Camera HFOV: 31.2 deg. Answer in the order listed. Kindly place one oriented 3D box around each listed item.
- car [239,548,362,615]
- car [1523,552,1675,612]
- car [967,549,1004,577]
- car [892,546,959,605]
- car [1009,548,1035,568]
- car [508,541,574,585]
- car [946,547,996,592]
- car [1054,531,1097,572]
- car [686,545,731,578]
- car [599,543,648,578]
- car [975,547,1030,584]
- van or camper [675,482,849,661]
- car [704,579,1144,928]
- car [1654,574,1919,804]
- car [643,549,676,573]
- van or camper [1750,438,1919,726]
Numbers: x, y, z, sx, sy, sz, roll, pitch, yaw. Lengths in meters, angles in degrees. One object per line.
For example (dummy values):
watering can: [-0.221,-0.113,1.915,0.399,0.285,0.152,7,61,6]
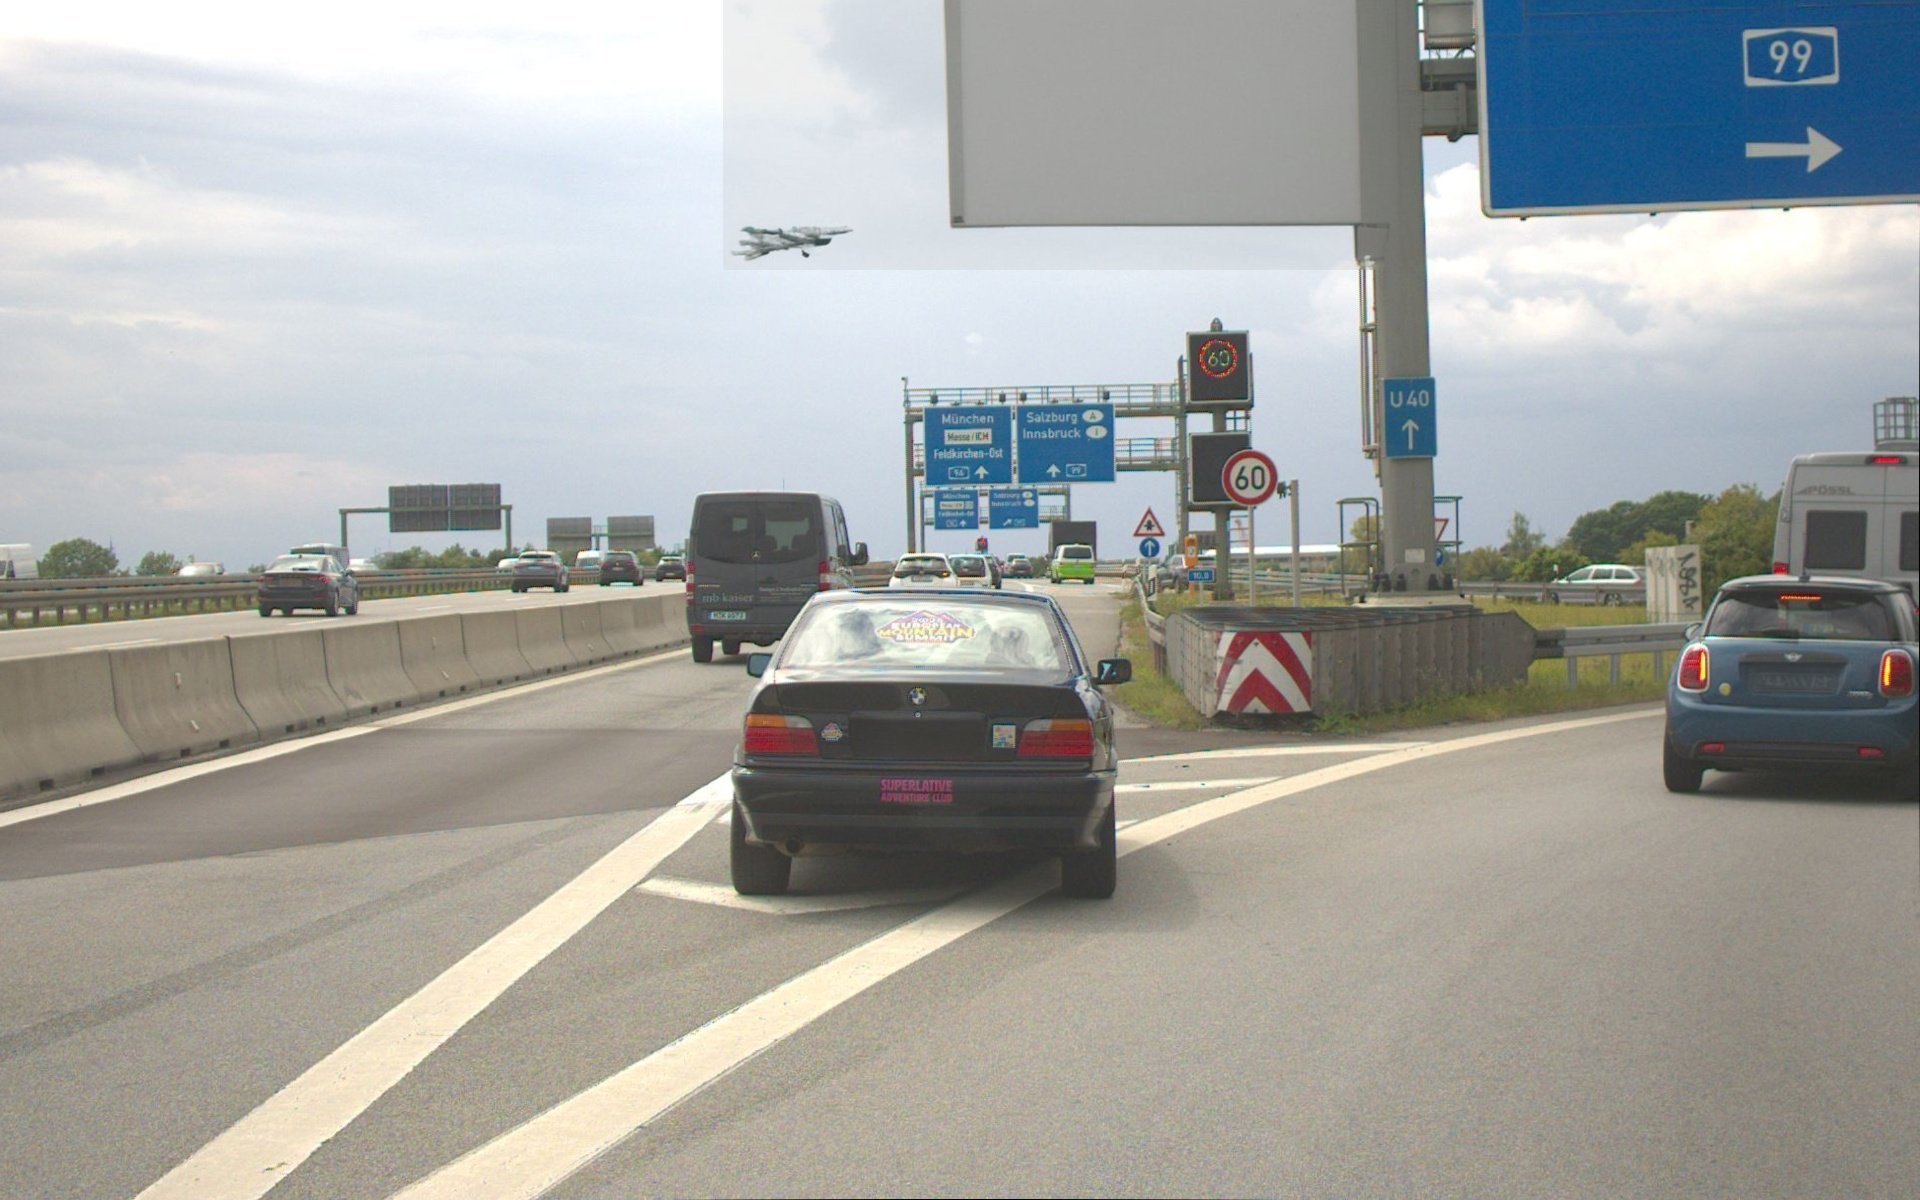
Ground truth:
car: [-15.486,-0.449,80.922,2.059,1.522,4.568,0,1,0]
car: [19.529,-0.568,105.195,1.994,1.766,4.245,-1,1,-41]
car: [1.355,-1.939,179.641,1.866,1.419,4.000,0,1,2]
car: [-0.892,-0.656,89.879,1.701,1.503,3.840,0,1,0]
car: [4.626,-3.134,256.393,1.803,1.419,4.000,0,1,3]
car: [-15.914,-1.419,130.750,1.901,1.634,4.645,0,1,0]
car: [0.387,-1.018,114.943,1.585,1.478,3.535,0,1,1]
car: [5.806,-2.453,173.172,1.993,2.007,4.000,0,1,-1]
car: [-11.913,-1.831,162.979,1.774,1.525,4.000,0,1,0]
car: [-15.978,-1.876,163.442,1.901,1.633,4.233,0,1,0]
car: [1.748,-1.427,140.868,1.994,1.463,4.000,0,1,4]
van or camper: [-2.720,-0.420,48.488,1.999,2.362,6.126,0,1,1]
car: [-0.094,0.612,16.039,1.782,1.373,4.137,0,1,1]
car: [5.871,0.543,23.423,1.731,1.414,3.662,1,1,19]
car: [-17.217,-2.253,197.014,1.552,1.371,4.000,0,1,0]
van or camper: [9.510,-0.207,33.486,2.296,2.559,6.152,0,1,25]
